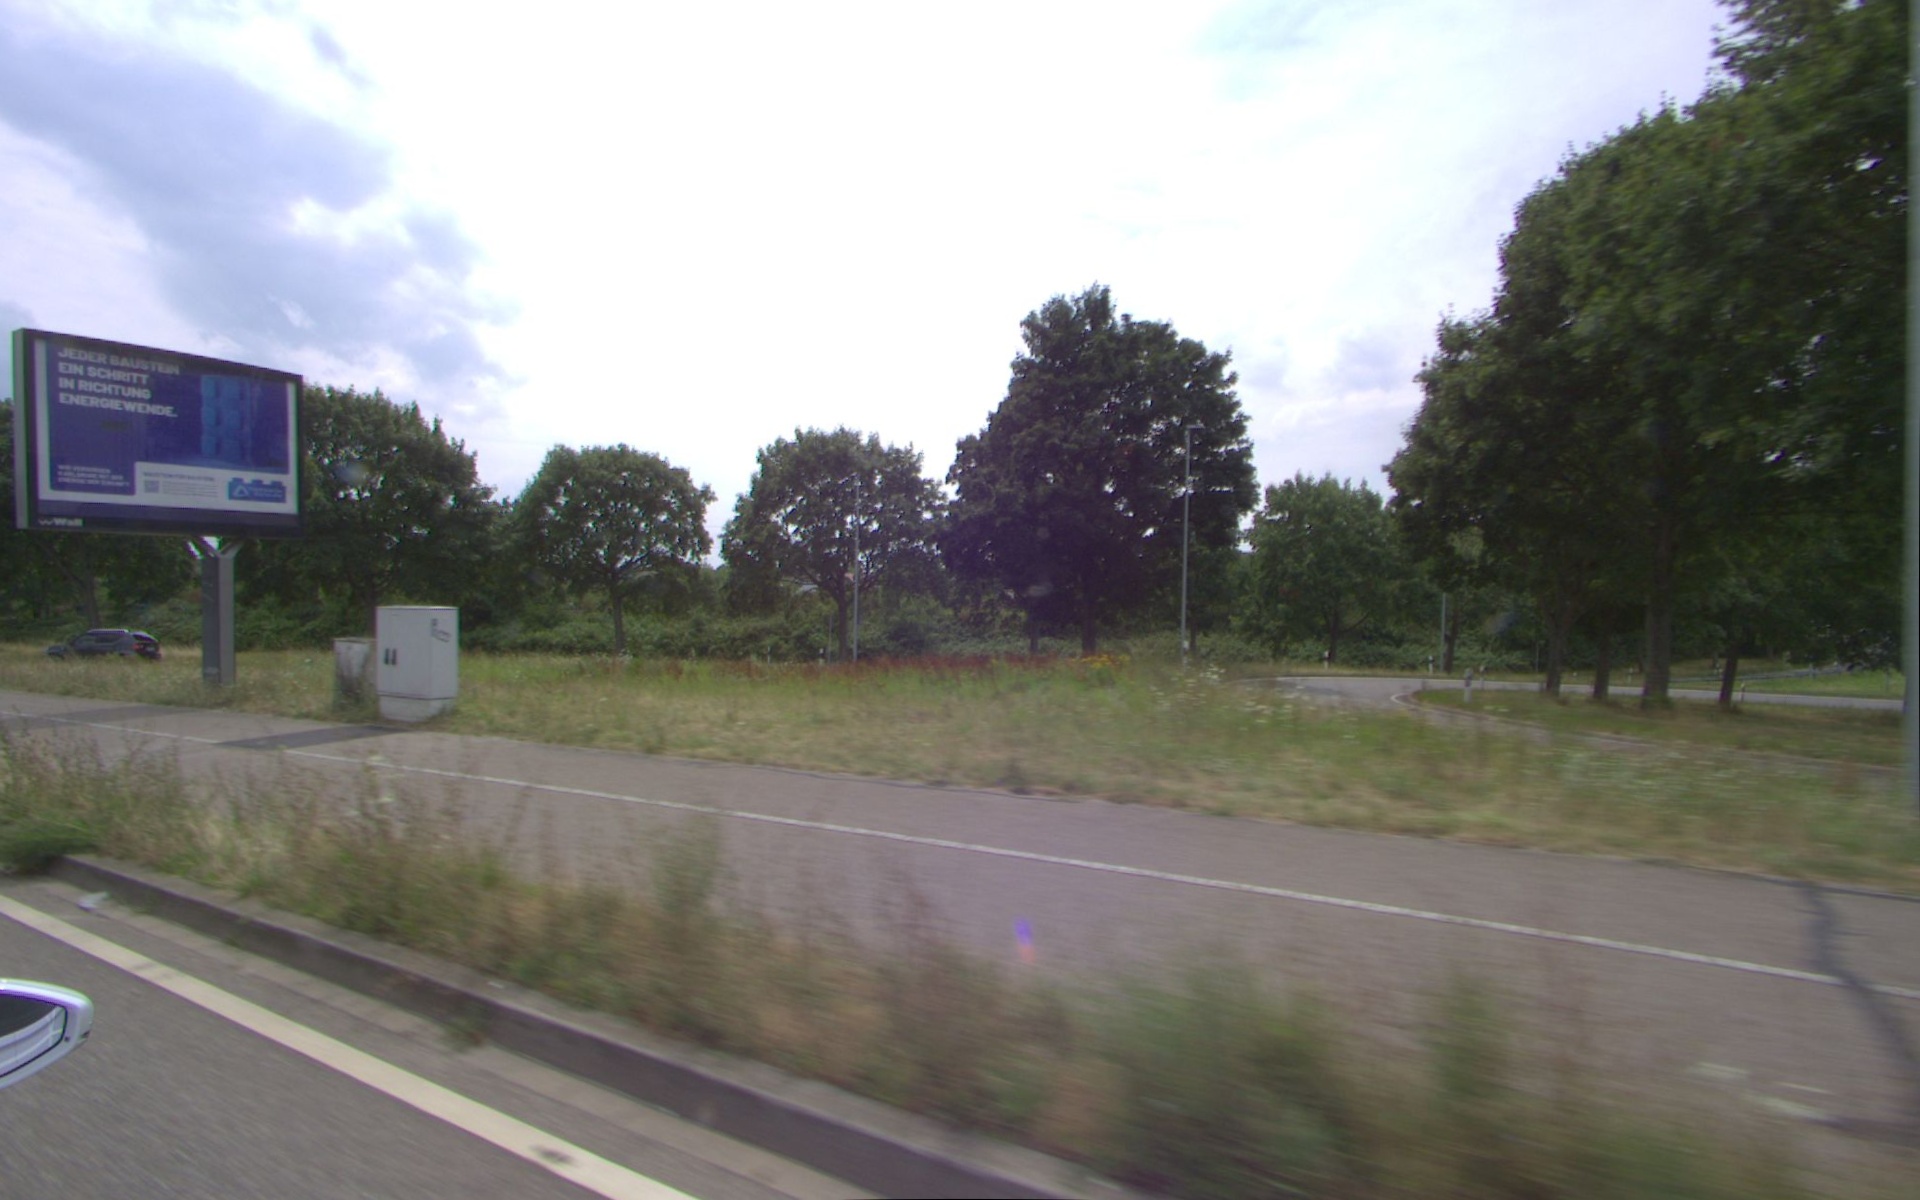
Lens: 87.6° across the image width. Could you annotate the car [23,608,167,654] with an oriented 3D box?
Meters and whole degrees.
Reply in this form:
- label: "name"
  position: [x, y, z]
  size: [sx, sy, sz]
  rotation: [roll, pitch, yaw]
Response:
- label: "car"
  position: [-33.542, 1.209, 38.972]
  size: [3.944, 1.690, 1.700]
  rotation: [2, -1, -30]
